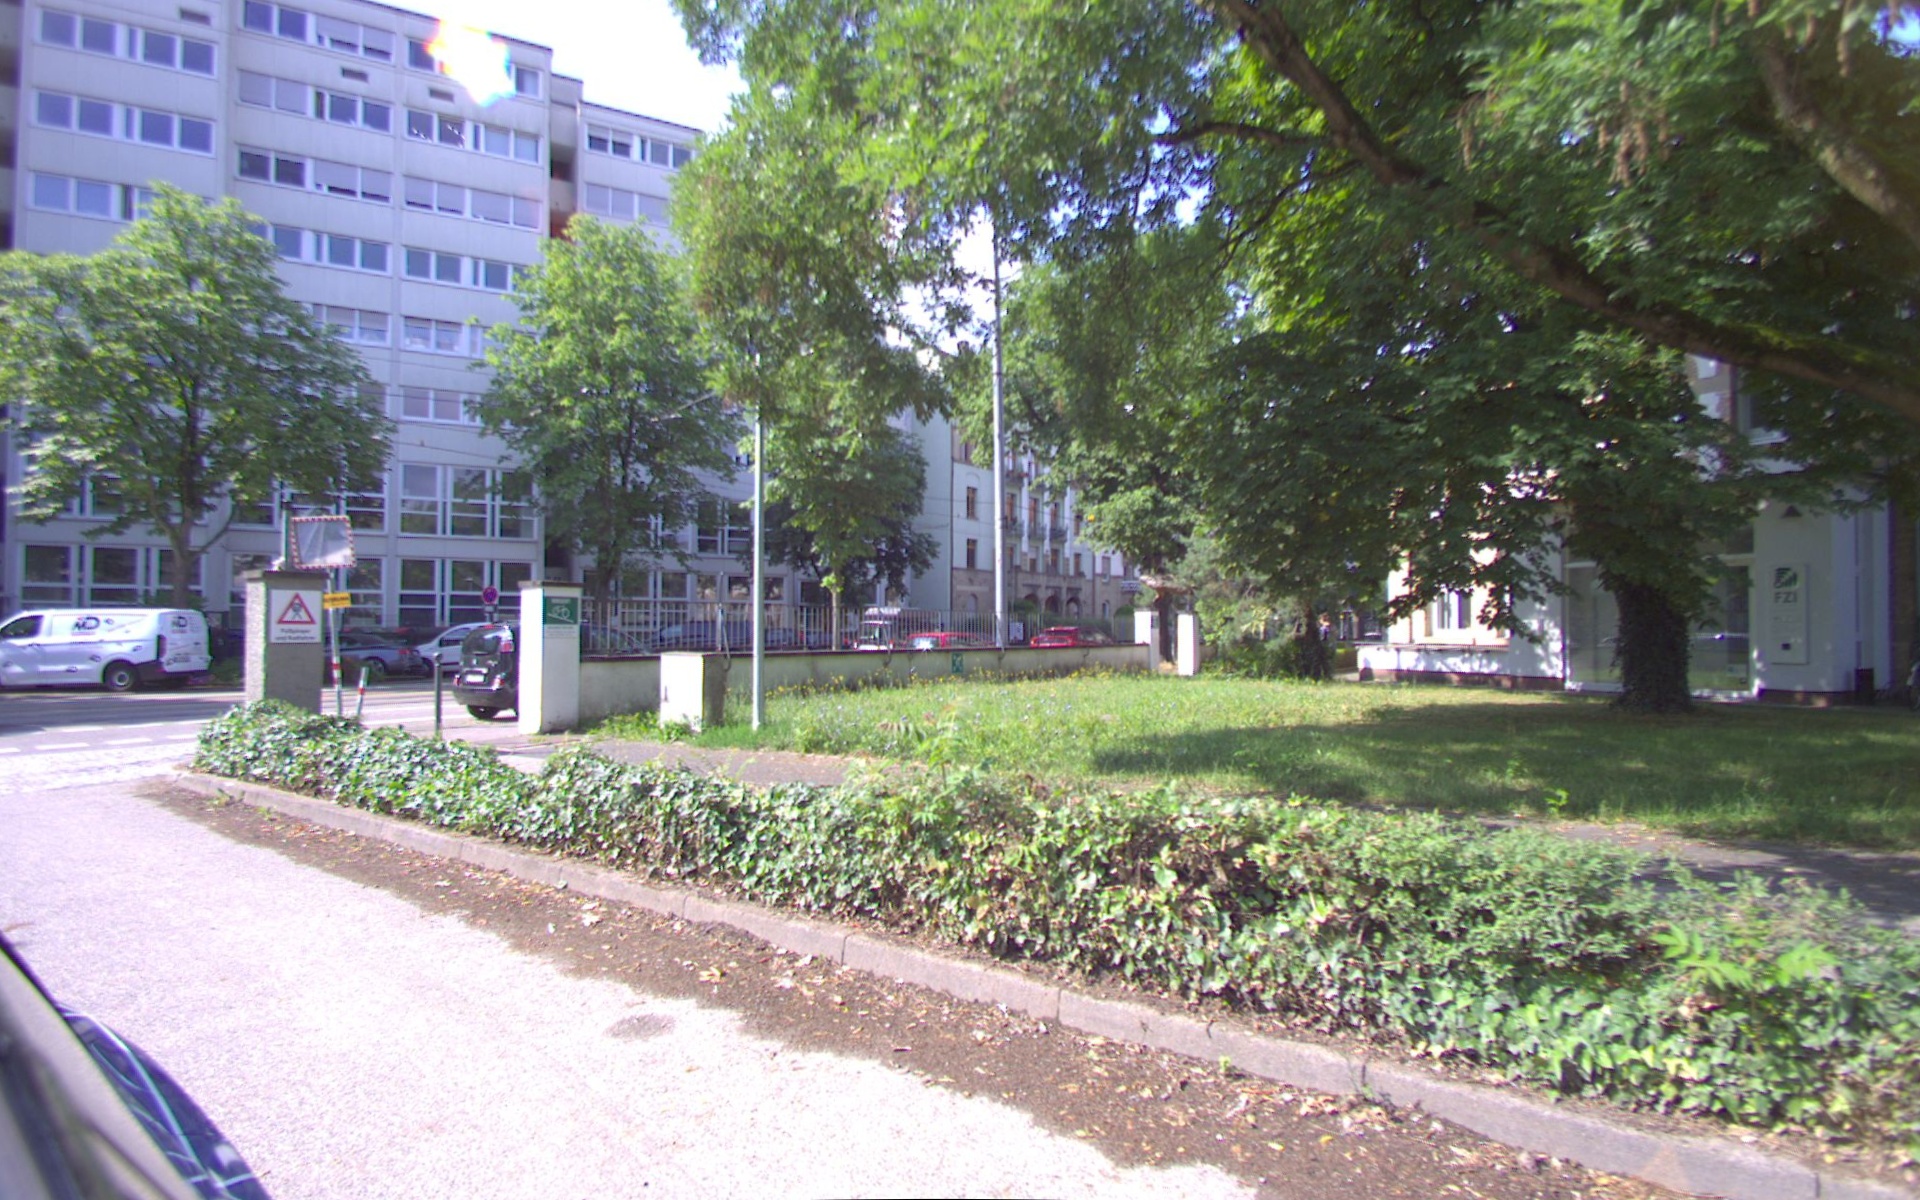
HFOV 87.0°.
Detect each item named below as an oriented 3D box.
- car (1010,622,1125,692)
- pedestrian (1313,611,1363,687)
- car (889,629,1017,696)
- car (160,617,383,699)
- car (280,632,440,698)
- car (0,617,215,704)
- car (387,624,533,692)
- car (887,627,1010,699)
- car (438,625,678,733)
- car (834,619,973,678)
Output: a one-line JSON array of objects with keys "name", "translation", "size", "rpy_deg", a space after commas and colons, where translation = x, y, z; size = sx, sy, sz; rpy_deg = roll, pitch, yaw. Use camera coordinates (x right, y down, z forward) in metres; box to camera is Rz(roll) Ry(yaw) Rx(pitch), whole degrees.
[{"name": "car", "translation": [3.546, 1.764, 32.720], "size": [1.963, 1.718, 3.952], "rpy_deg": [1, 5, 36]}, {"name": "pedestrian", "translation": [9.039, 1.159, 24.186], "size": [0.795, 1.690, 0.775], "rpy_deg": [-4, 4, -28]}, {"name": "car", "translation": [-0.126, 1.632, 27.193], "size": [1.675, 1.624, 3.542], "rpy_deg": [-3, -2, 35]}, {"name": "car", "translation": [-18.026, 1.500, 26.686], "size": [4.503, 2.013, 1.906], "rpy_deg": [-1, -2, -6]}, {"name": "car", "translation": [-17.456, 1.867, 29.606], "size": [3.576, 1.511, 1.767], "rpy_deg": [-3, 3, -12]}, {"name": "car", "translation": [-20.716, 1.433, 23.972], "size": [4.570, 1.927, 1.935], "rpy_deg": [-1, -3, -6]}, {"name": "car", "translation": [-15.693, 1.801, 31.970], "size": [3.698, 1.724, 1.888], "rpy_deg": [-3, 4, -10]}, {"name": "car", "translation": [-0.261, 1.644, 27.169], "size": [1.669, 1.497, 3.241], "rpy_deg": [-2, 3, 35]}, {"name": "car", "translation": [-6.849, 1.280, 17.522], "size": [1.675, 1.624, 3.542], "rpy_deg": [-3, -2, 35]}, {"name": "car", "translation": [-1.772, 1.565, 33.374], "size": [1.943, 1.787, 4.778], "rpy_deg": [-4, -4, 36]}]
